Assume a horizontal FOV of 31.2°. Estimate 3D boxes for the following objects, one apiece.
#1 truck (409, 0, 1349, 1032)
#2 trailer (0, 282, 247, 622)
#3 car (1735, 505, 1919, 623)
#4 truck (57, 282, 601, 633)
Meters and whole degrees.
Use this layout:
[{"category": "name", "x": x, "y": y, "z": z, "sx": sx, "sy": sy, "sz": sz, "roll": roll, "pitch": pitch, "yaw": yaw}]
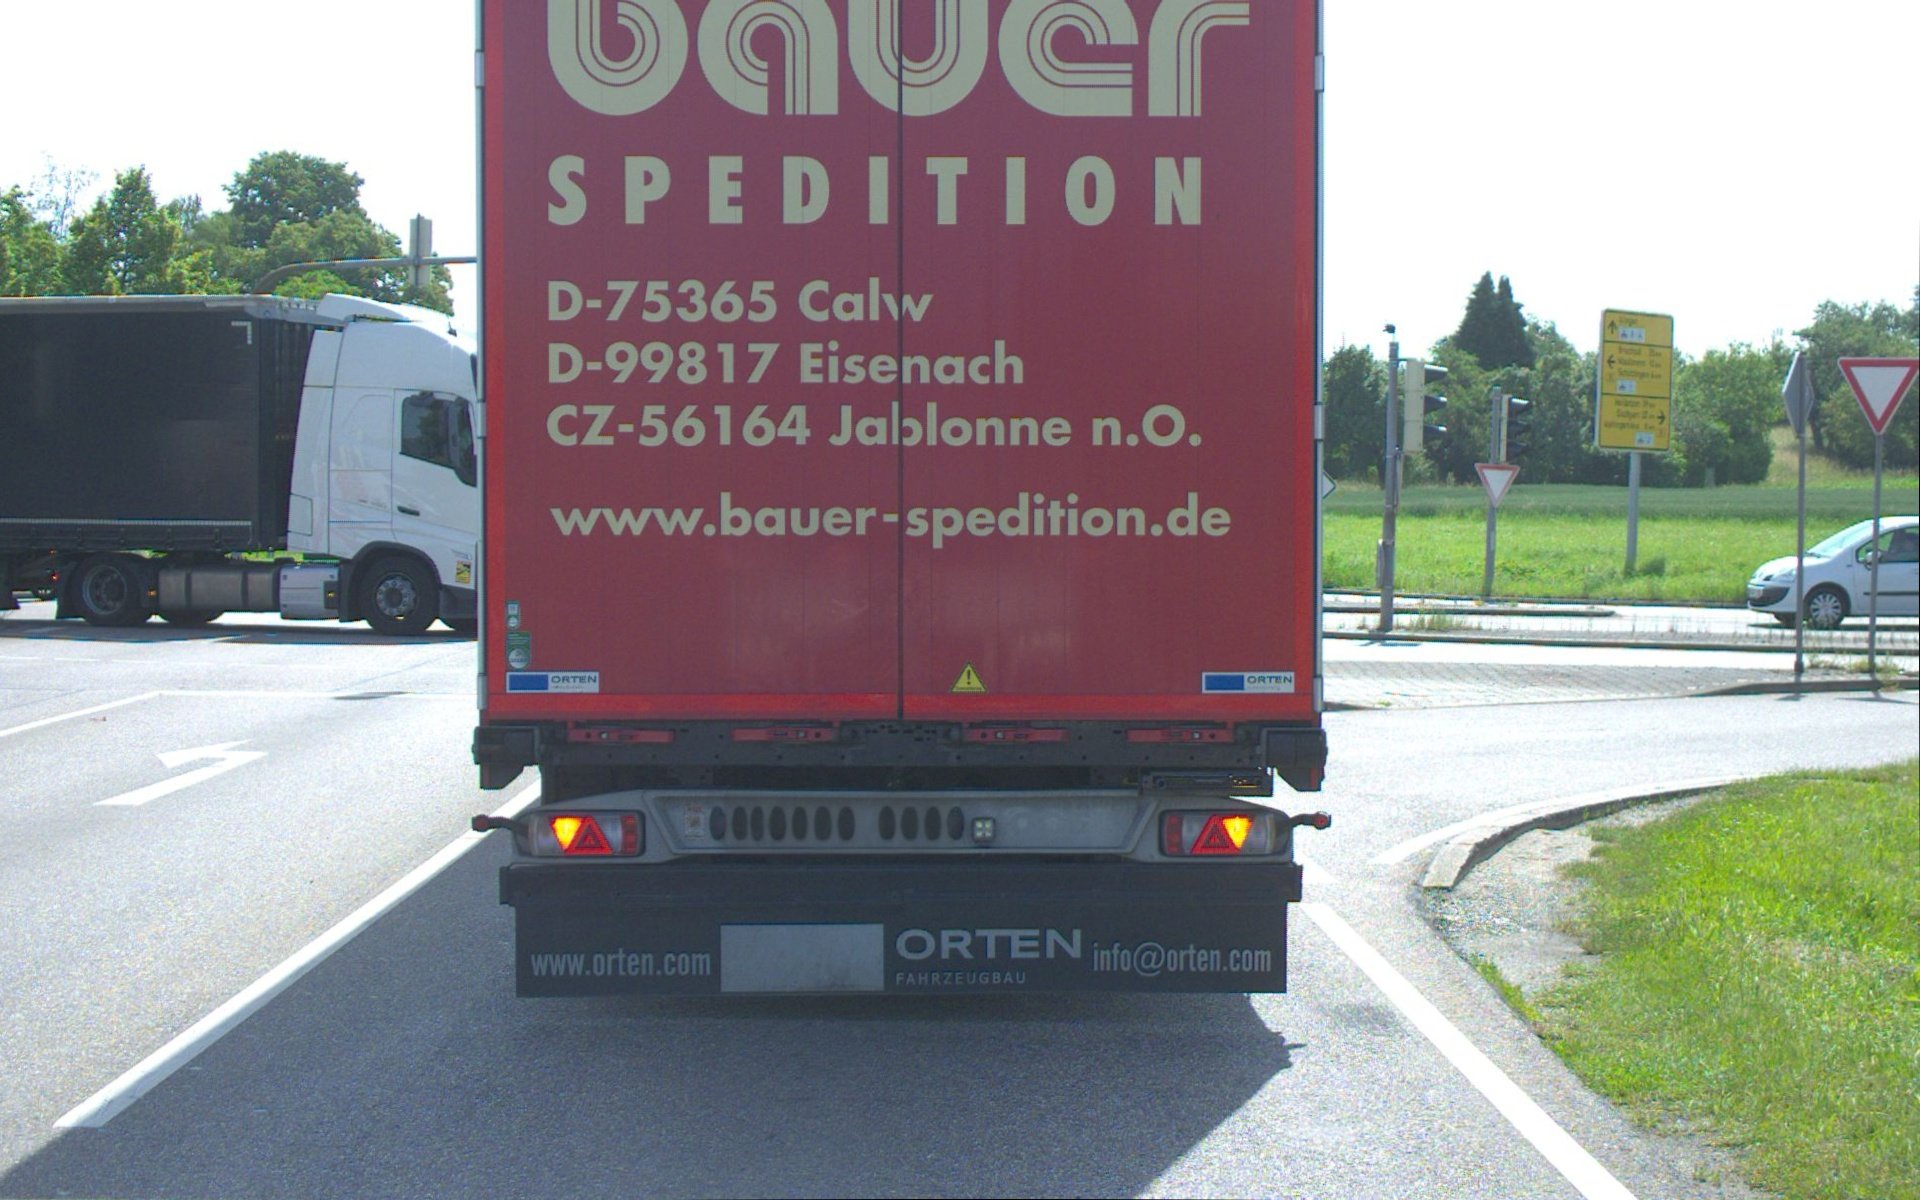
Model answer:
[{"category": "truck", "x": -0.292, "y": -0.909, "z": 18.428, "sx": 2.734, "sy": 3.911, "sz": 16.627, "roll": 1, "pitch": 1, "yaw": 0}, {"category": "trailer", "x": -16.005, "y": -1.983, "z": 44.290, "sx": 13.696, "sy": 4.047, "sz": 2.796, "roll": 2, "pitch": 2, "yaw": 17}, {"category": "car", "x": 13.175, "y": -0.503, "z": 48.913, "sx": 3.826, "sy": 1.628, "sz": 1.761, "roll": 0, "pitch": 0, "yaw": -5}, {"category": "truck", "x": -7.613, "y": -1.755, "z": 41.731, "sx": 5.830, "sy": 4.047, "sz": 2.796, "roll": 1, "pitch": 2, "yaw": 15}]
